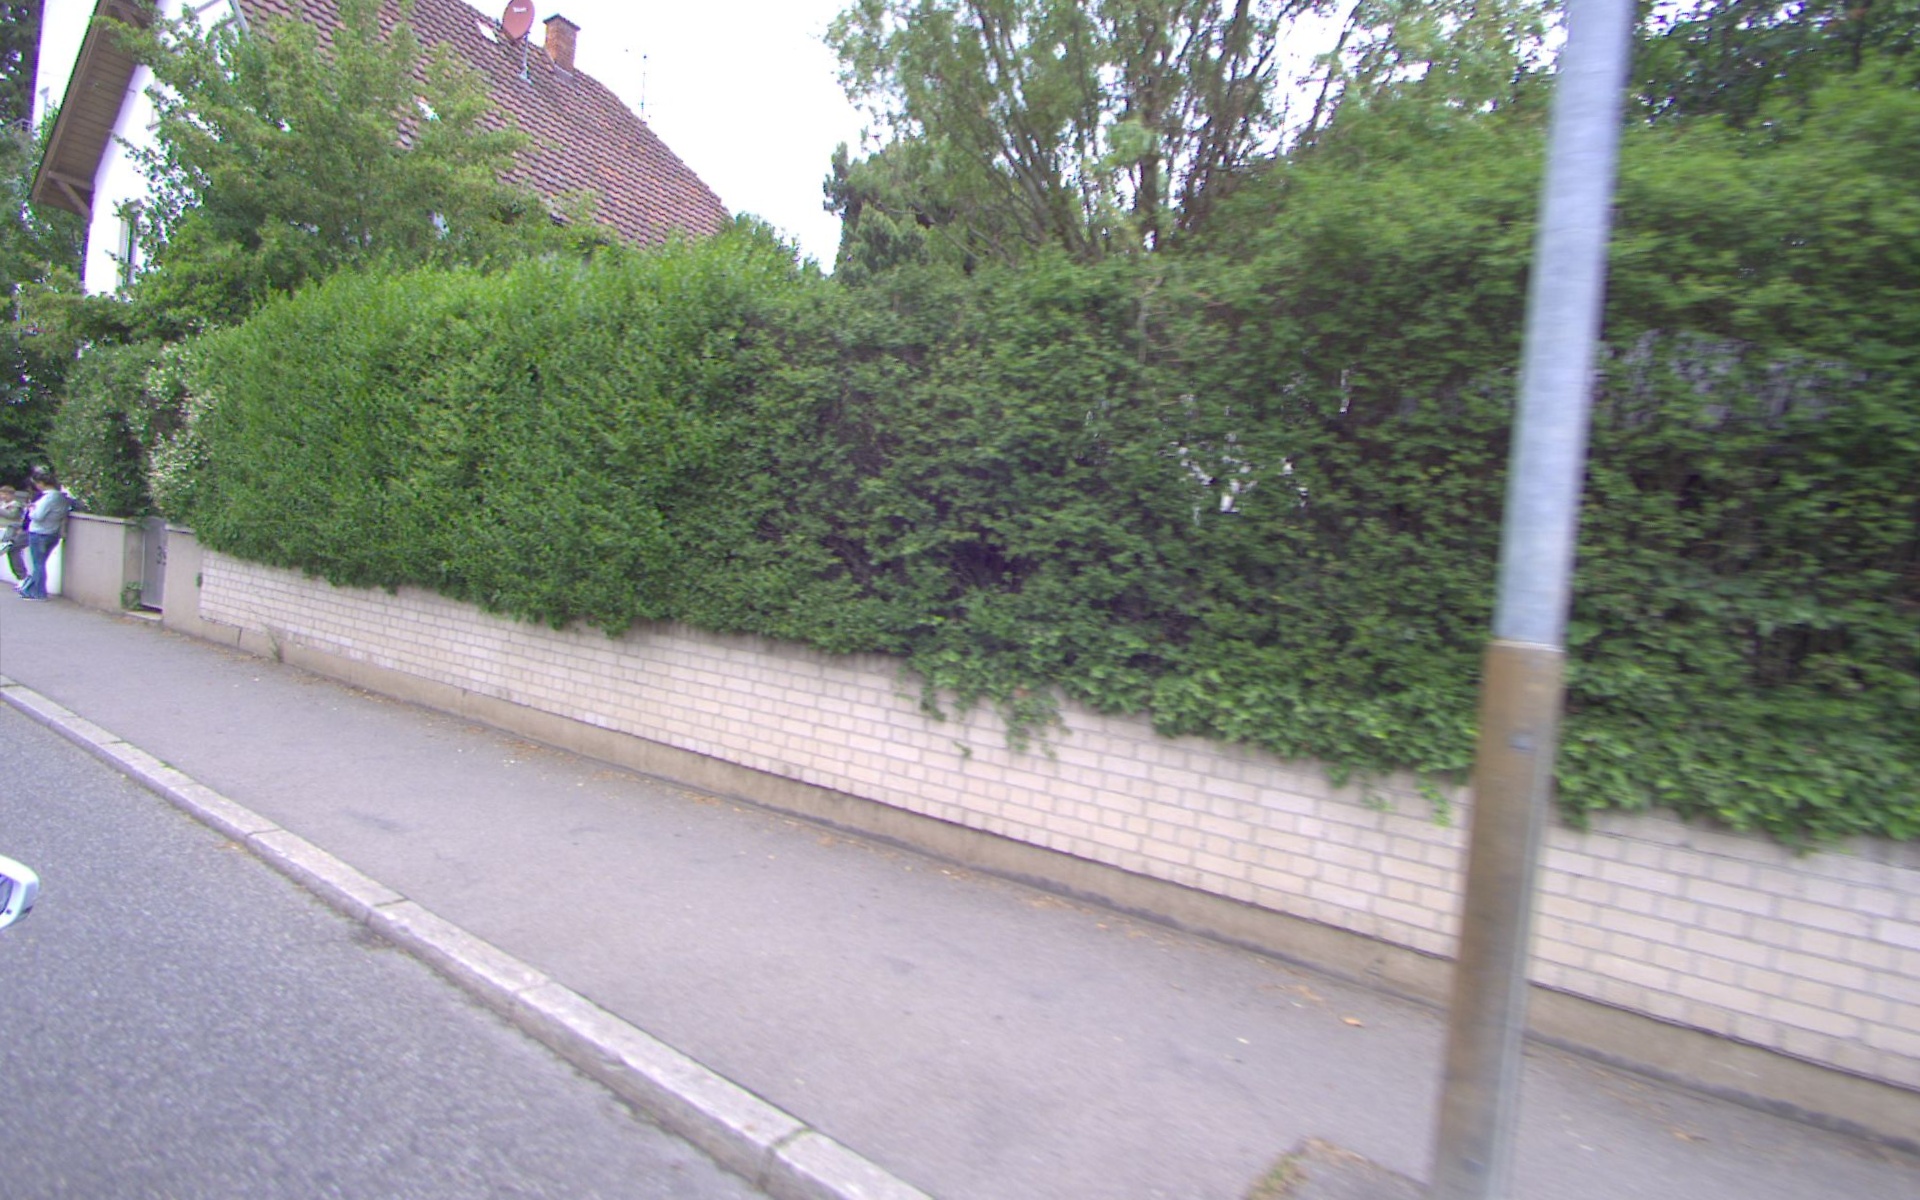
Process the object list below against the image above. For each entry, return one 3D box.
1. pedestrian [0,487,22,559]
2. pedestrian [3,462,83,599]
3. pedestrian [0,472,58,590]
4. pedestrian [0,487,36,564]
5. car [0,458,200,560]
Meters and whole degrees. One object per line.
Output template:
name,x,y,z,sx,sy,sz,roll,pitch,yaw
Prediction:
pedestrian,-13.442,-1.084,13.992,0.376,0.978,0.454,7,4,26
pedestrian,-10.977,-0.817,12.043,0.463,1.577,0.544,7,4,24
pedestrian,-12.089,-0.886,12.890,0.612,1.447,0.510,4,4,-19
pedestrian,-12.522,-0.984,13.206,0.376,0.978,0.454,7,4,26
car,-20.391,-2.083,23.253,1.856,1.811,3.993,6,0,29
